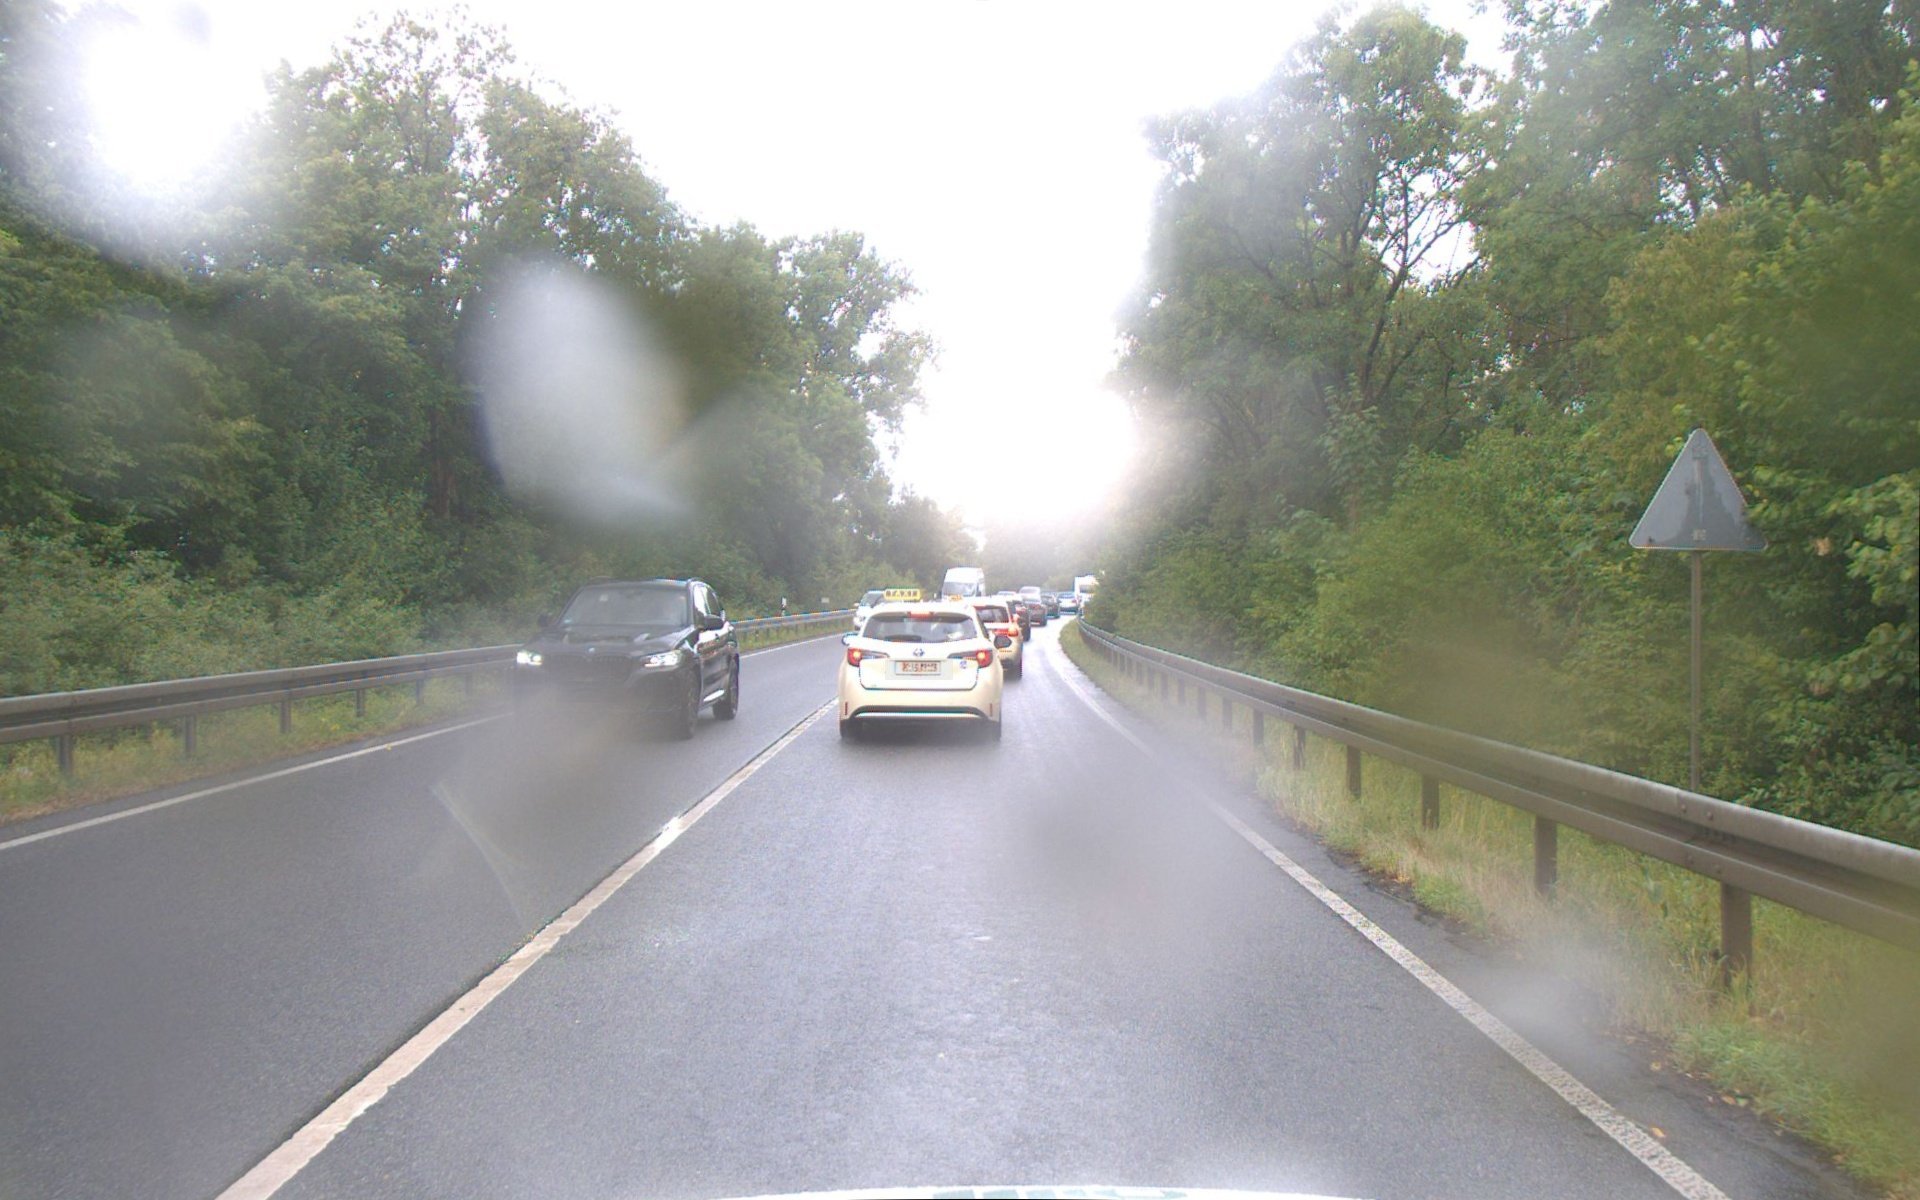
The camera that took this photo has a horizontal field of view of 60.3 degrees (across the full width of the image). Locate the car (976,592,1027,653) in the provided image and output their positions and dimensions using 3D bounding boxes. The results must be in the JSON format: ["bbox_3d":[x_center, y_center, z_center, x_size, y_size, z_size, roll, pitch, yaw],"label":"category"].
[{"bbox_3d":[1.088,0.594,44.651,1.274,1.574,3.260,1,-1,0],"label":"car"}]

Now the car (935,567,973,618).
[{"bbox_3d":[-0.316,-0.390,92.065,2.005,2.723,6.171,0,-1,1],"label":"car"}]

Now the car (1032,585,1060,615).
[{"bbox_3d":[5.031,0.016,96.718,1.582,1.641,3.623,1,-1,3],"label":"car"}]

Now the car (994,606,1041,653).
[{"bbox_3d":[2.001,1.004,57.485,1.578,1.574,3.814,0,-1,2],"label":"car"}]

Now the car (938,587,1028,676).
[{"bbox_3d":[0.438,0.590,32.246,1.633,1.608,3.892,1,-1,0],"label":"car"}]

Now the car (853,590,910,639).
[{"bbox_3d":[-2.628,0.459,56.485,1.657,1.583,4.442,1,0,1],"label":"car"}]

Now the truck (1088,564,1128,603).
[{"bbox_3d":[14.741,-1.608,164.130,3.041,3.745,7.005,1,-1,12],"label":"truck"}]

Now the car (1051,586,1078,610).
[{"bbox_3d":[7.334,-0.136,115.965,1.732,1.574,3.816,1,-1,6],"label":"car"}]

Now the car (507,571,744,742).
[{"bbox_3d":[-3.610,0.564,18.621,1.809,1.672,4.297,1,0,-1],"label":"car"}]

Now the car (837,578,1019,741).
[{"bbox_3d":[-0.341,0.618,18.709,1.796,1.608,4.156,1,-1,-1],"label":"car"}]

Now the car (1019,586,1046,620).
[{"bbox_3d":[3.455,0.136,78.182,1.142,1.574,2.605,1,-1,5],"label":"car"}]

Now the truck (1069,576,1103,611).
[{"bbox_3d":[10.481,-0.504,138.295,2.497,2.760,7.536,1,-1,2],"label":"truck"}]
